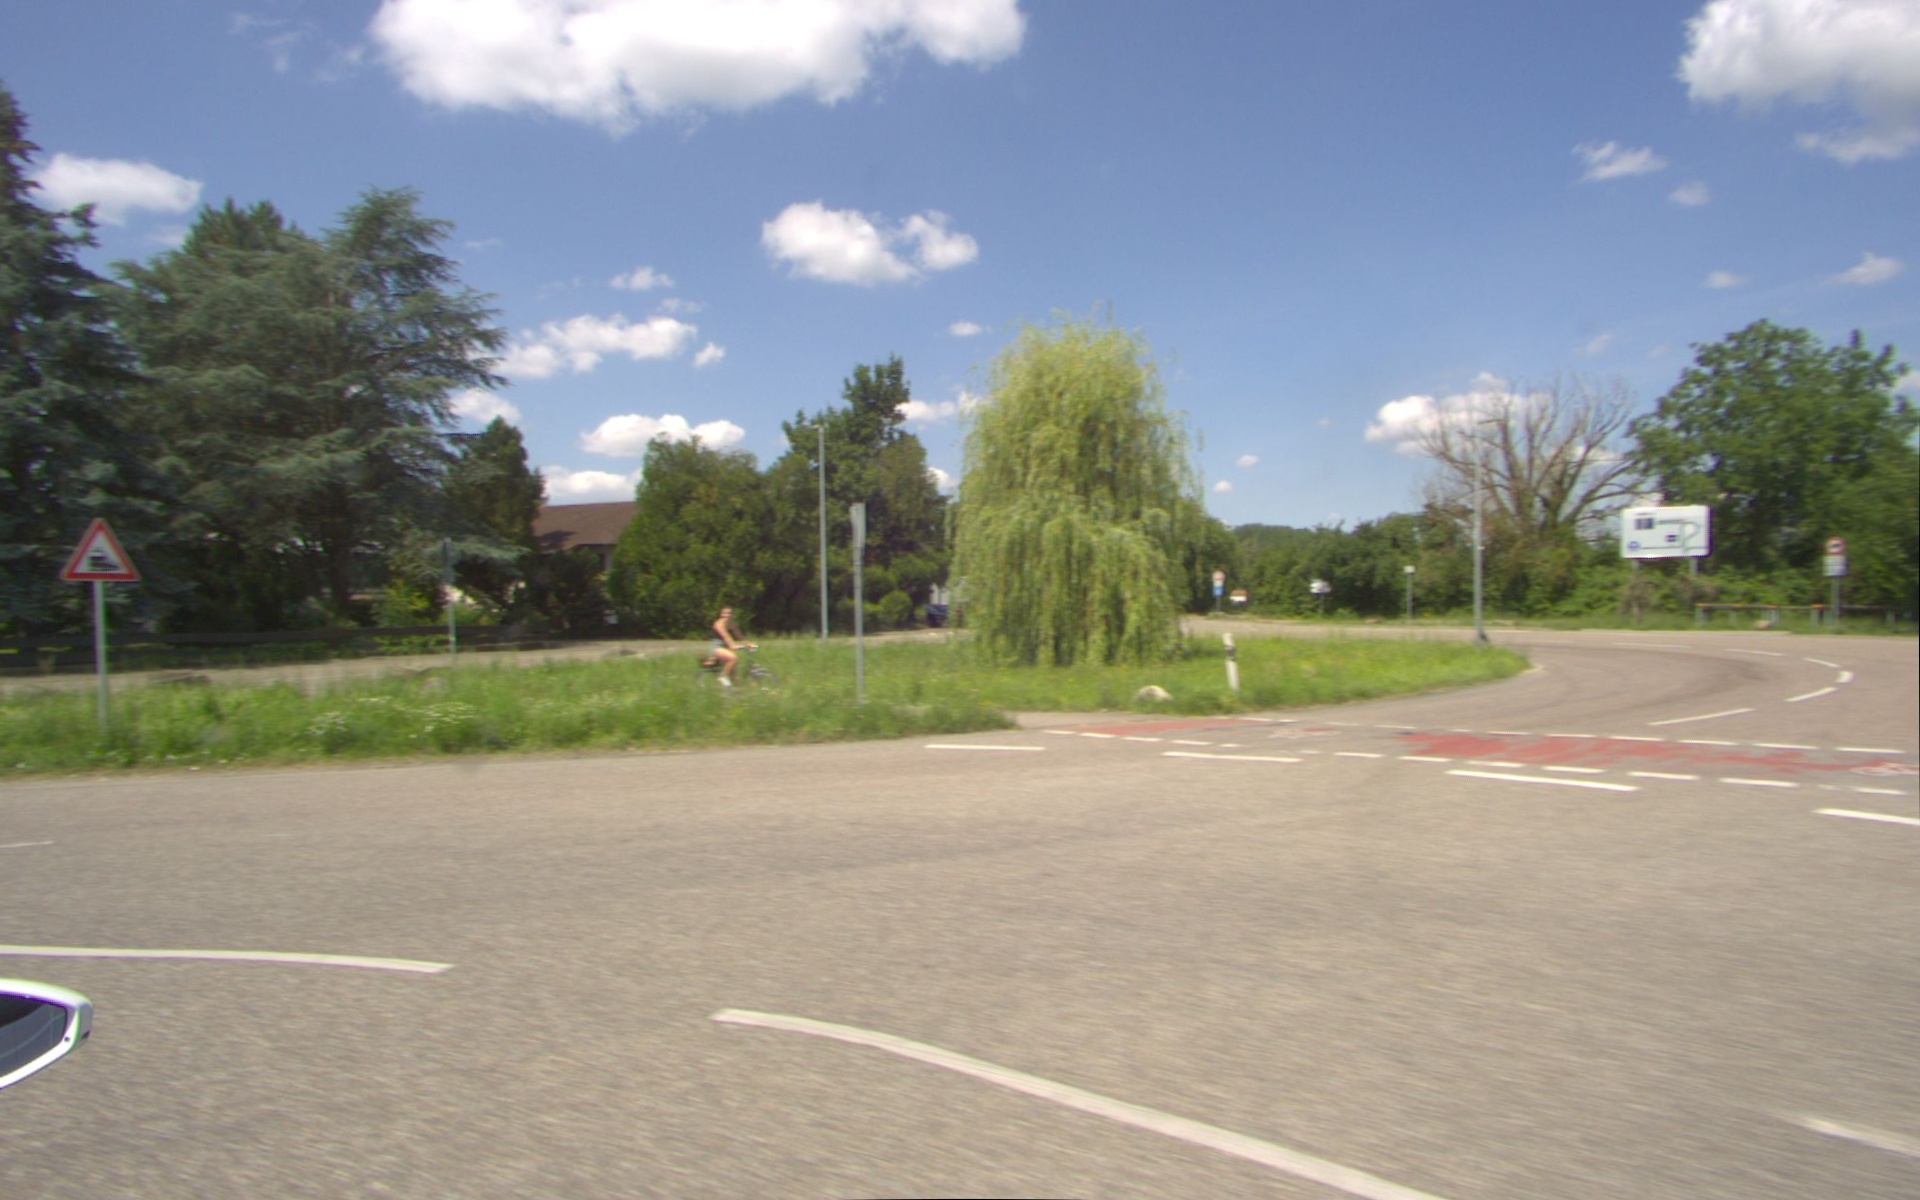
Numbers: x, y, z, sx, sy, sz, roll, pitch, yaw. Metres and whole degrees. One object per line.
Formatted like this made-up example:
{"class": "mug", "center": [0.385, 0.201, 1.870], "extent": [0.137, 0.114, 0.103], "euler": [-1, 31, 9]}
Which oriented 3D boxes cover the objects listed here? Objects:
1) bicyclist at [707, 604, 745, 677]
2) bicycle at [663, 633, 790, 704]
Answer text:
{"class": "bicyclist", "center": [-4.154, 0.707, 17.782], "extent": [0.502, 1.272, 0.469], "euler": [0, 1, 13]}
{"class": "bicycle", "center": [-4.145, 1.198, 17.790], "extent": [2.106, 1.180, 0.660], "euler": [0, 1, 12]}
